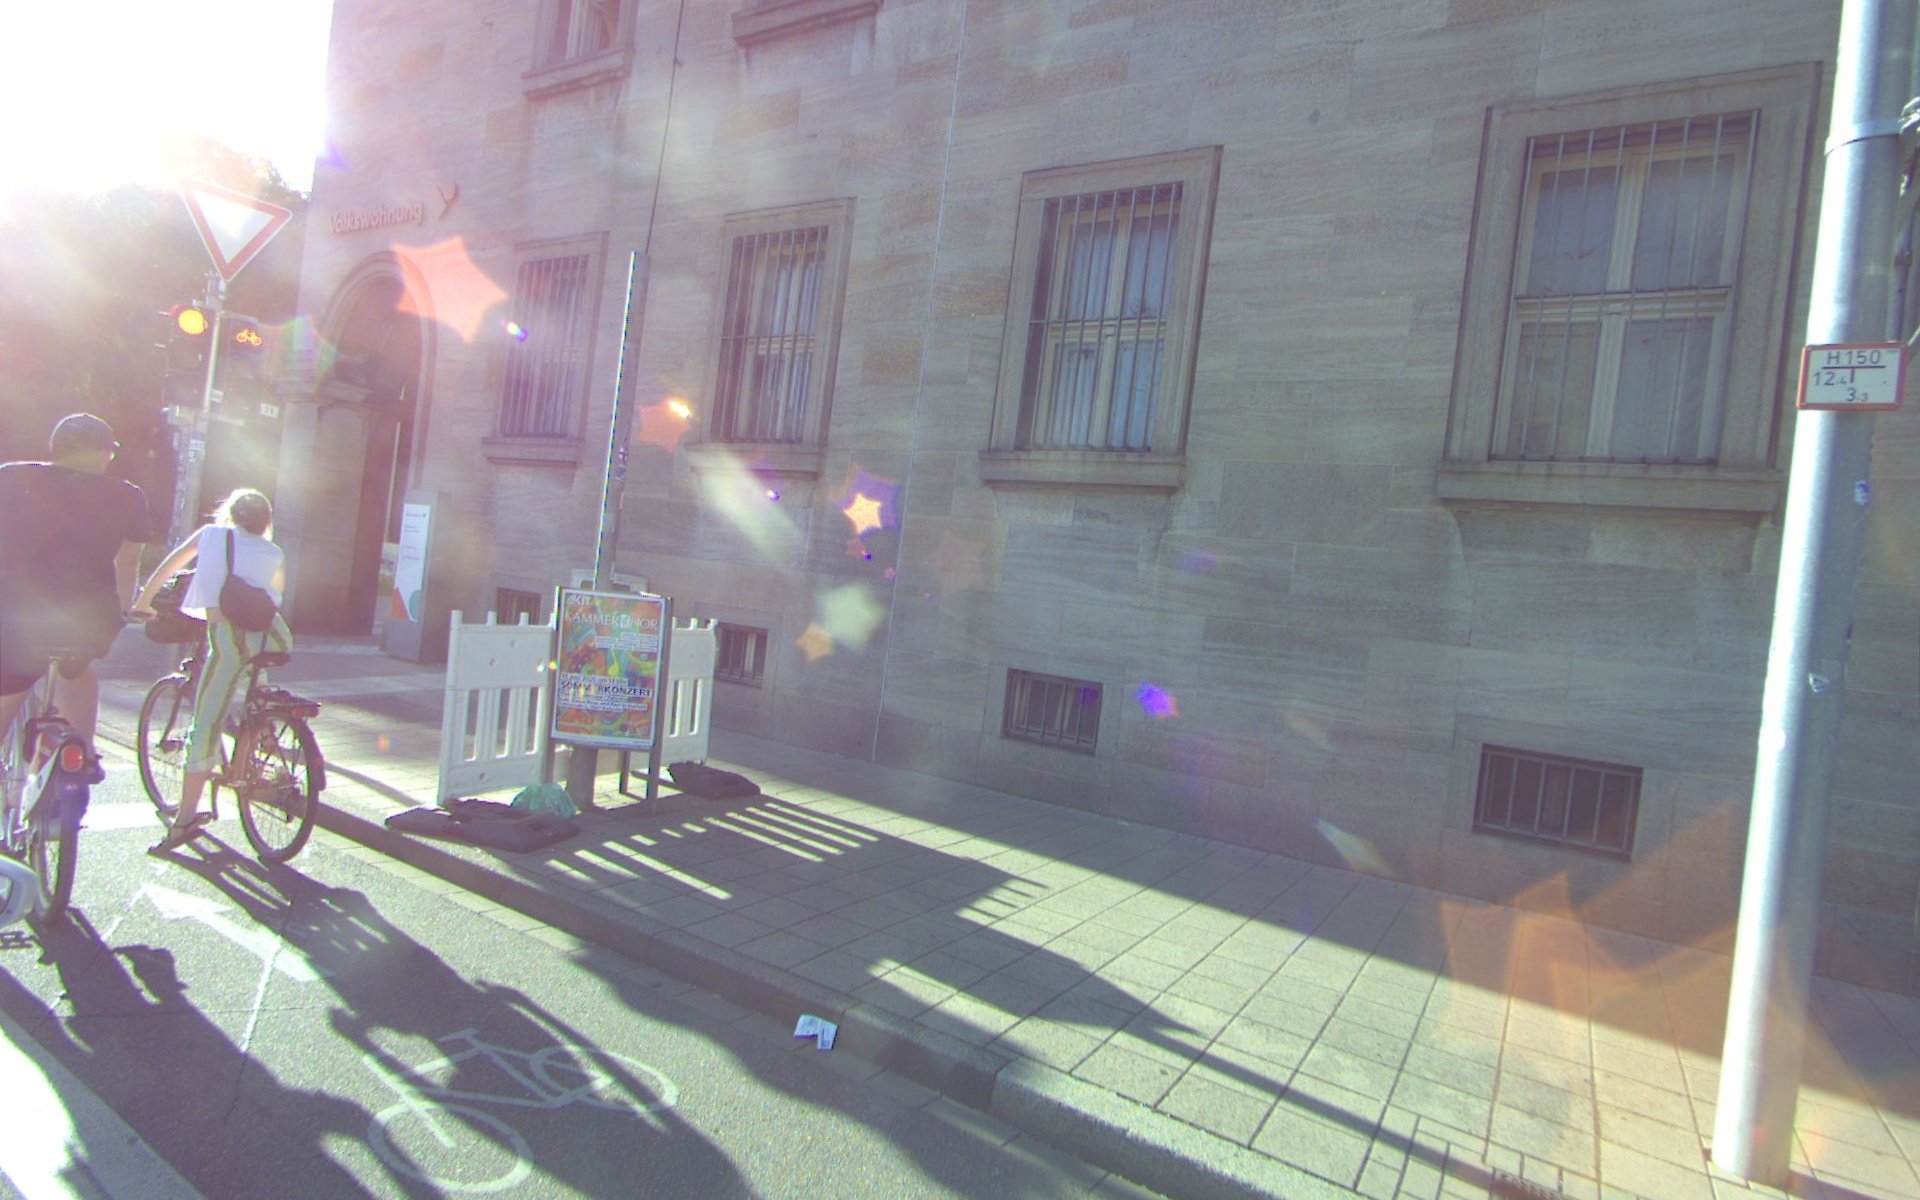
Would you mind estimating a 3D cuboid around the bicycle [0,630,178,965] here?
[{"bbox_3d":[-3.705,0.683,4.087,1.923,0.916,0.388,7,0,41],"label":"bicycle"}]

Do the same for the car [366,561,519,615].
[{"bbox_3d":[-18.299,-0.391,35.774,1.748,1.345,4.446,7,-1,34],"label":"car"}]

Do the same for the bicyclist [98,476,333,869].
[{"bbox_3d":[-3.572,0.309,4.822,0.845,1.700,0.522,7,1,35],"label":"bicyclist"}]

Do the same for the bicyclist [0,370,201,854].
[{"bbox_3d":[-3.508,0.044,3.868,0.647,1.698,0.669,7,1,39],"label":"bicyclist"}]

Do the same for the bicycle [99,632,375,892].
[{"bbox_3d":[-3.624,0.721,4.970,1.920,0.887,0.427,7,0,35],"label":"bicycle"}]
